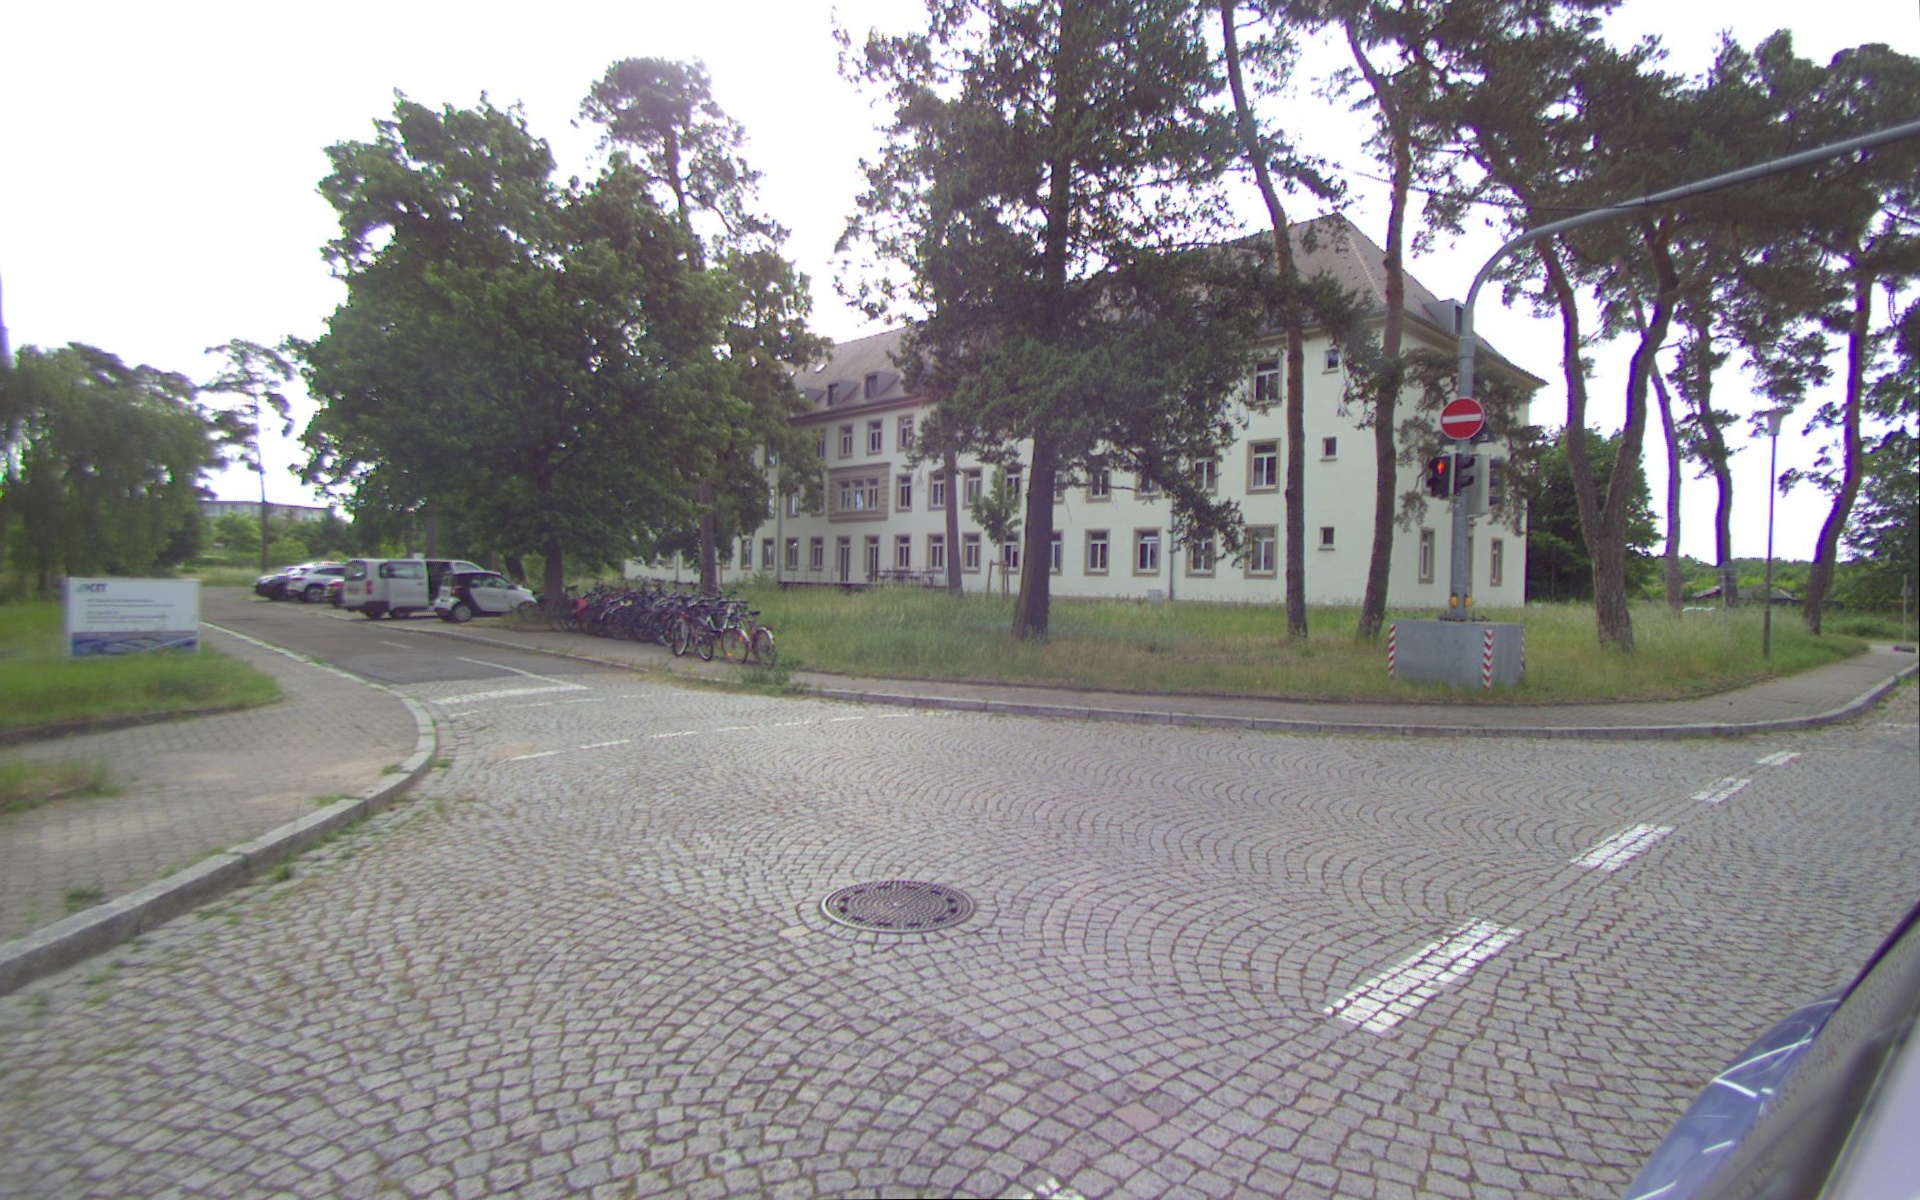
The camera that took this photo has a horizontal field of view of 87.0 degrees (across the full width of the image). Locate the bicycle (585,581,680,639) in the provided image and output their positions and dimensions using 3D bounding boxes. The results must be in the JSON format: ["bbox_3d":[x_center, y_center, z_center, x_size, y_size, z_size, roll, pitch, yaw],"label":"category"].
[{"bbox_3d":[-7.438,0.239,23.032,0.622,1.263,1.956,1,0,45],"label":"bicycle"}]

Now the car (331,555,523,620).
[{"bbox_3d":[-17.298,-0.447,33.142,2.134,1.940,5.261,2,2,32],"label":"car"}]

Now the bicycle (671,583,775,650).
[{"bbox_3d":[-4.705,0.329,20.206,0.622,1.263,1.956,1,0,45],"label":"bicycle"}]

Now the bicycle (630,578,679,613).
[{"bbox_3d":[-10.154,-0.161,33.670,1.527,1.139,0.400,1,1,-42],"label":"bicycle"}]

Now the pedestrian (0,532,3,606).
[{"bbox_3d":[-23.553,-0.746,24.215,0.824,1.803,0.940,1,1,-38],"label":"pedestrian"}]

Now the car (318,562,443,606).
[{"bbox_3d":[-22.561,-0.599,39.456,3.973,1.641,1.679,0,1,-41],"label":"car"}]

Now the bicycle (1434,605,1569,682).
[{"bbox_3d":[8.168,0.633,15.324,0.572,0.982,1.677,-1,4,-39],"label":"bicycle"}]

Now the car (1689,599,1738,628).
[{"bbox_3d":[39.825,0.712,53.494,3.140,1.455,1.485,2,0,-42],"label":"car"}]

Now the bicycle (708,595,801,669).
[{"bbox_3d":[-3.432,0.505,16.778,0.613,1.127,1.986,2,0,-40],"label":"bicycle"}]

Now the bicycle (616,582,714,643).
[{"bbox_3d":[-6.372,0.274,21.946,0.622,1.263,1.956,1,0,45],"label":"bicycle"}]

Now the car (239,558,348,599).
[{"bbox_3d":[-30.950,-0.995,47.058,3.978,1.822,1.677,0,1,-45],"label":"car"}]

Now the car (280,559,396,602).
[{"bbox_3d":[-26.628,-0.815,43.388,3.978,1.740,1.677,0,1,-45],"label":"car"}]

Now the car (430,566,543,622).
[{"bbox_3d":[-14.487,-0.206,31.030,2.809,1.577,1.469,0,3,-44],"label":"car"}]

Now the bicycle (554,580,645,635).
[{"bbox_3d":[-8.620,0.200,24.274,0.622,1.263,1.956,1,0,45],"label":"bicycle"}]

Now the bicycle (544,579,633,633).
[{"bbox_3d":[-9.071,0.121,24.752,0.622,1.263,1.957,1,2,45],"label":"bicycle"}]

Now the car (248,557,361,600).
[{"bbox_3d":[-29.243,-0.939,45.213,3.978,1.822,1.677,0,1,-45],"label":"car"}]

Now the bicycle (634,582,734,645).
[{"bbox_3d":[-5.782,0.294,21.324,0.622,1.263,1.956,1,0,45],"label":"bicycle"}]

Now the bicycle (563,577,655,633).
[{"bbox_3d":[-8.267,0.132,23.928,0.622,1.263,1.956,1,0,45],"label":"bicycle"}]

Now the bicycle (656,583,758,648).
[{"bbox_3d":[-5.137,0.315,20.662,0.622,1.263,1.956,1,0,45],"label":"bicycle"}]

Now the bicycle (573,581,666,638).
[{"bbox_3d":[-7.902,0.224,23.570,0.622,1.263,1.956,1,0,45],"label":"bicycle"}]

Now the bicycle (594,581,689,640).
[{"bbox_3d":[-7.150,0.248,22.800,0.622,1.263,1.956,1,0,45],"label":"bicycle"}]

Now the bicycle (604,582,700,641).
[{"bbox_3d":[-6.801,0.260,22.409,0.622,1.263,1.956,1,0,45],"label":"bicycle"}]

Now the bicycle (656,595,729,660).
[{"bbox_3d":[-4.820,0.475,18.149,0.613,1.096,1.676,2,0,-39],"label":"bicycle"}]

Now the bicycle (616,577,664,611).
[{"bbox_3d":[-10.943,-0.190,34.616,1.527,1.139,0.400,1,1,-42],"label":"bicycle"}]
